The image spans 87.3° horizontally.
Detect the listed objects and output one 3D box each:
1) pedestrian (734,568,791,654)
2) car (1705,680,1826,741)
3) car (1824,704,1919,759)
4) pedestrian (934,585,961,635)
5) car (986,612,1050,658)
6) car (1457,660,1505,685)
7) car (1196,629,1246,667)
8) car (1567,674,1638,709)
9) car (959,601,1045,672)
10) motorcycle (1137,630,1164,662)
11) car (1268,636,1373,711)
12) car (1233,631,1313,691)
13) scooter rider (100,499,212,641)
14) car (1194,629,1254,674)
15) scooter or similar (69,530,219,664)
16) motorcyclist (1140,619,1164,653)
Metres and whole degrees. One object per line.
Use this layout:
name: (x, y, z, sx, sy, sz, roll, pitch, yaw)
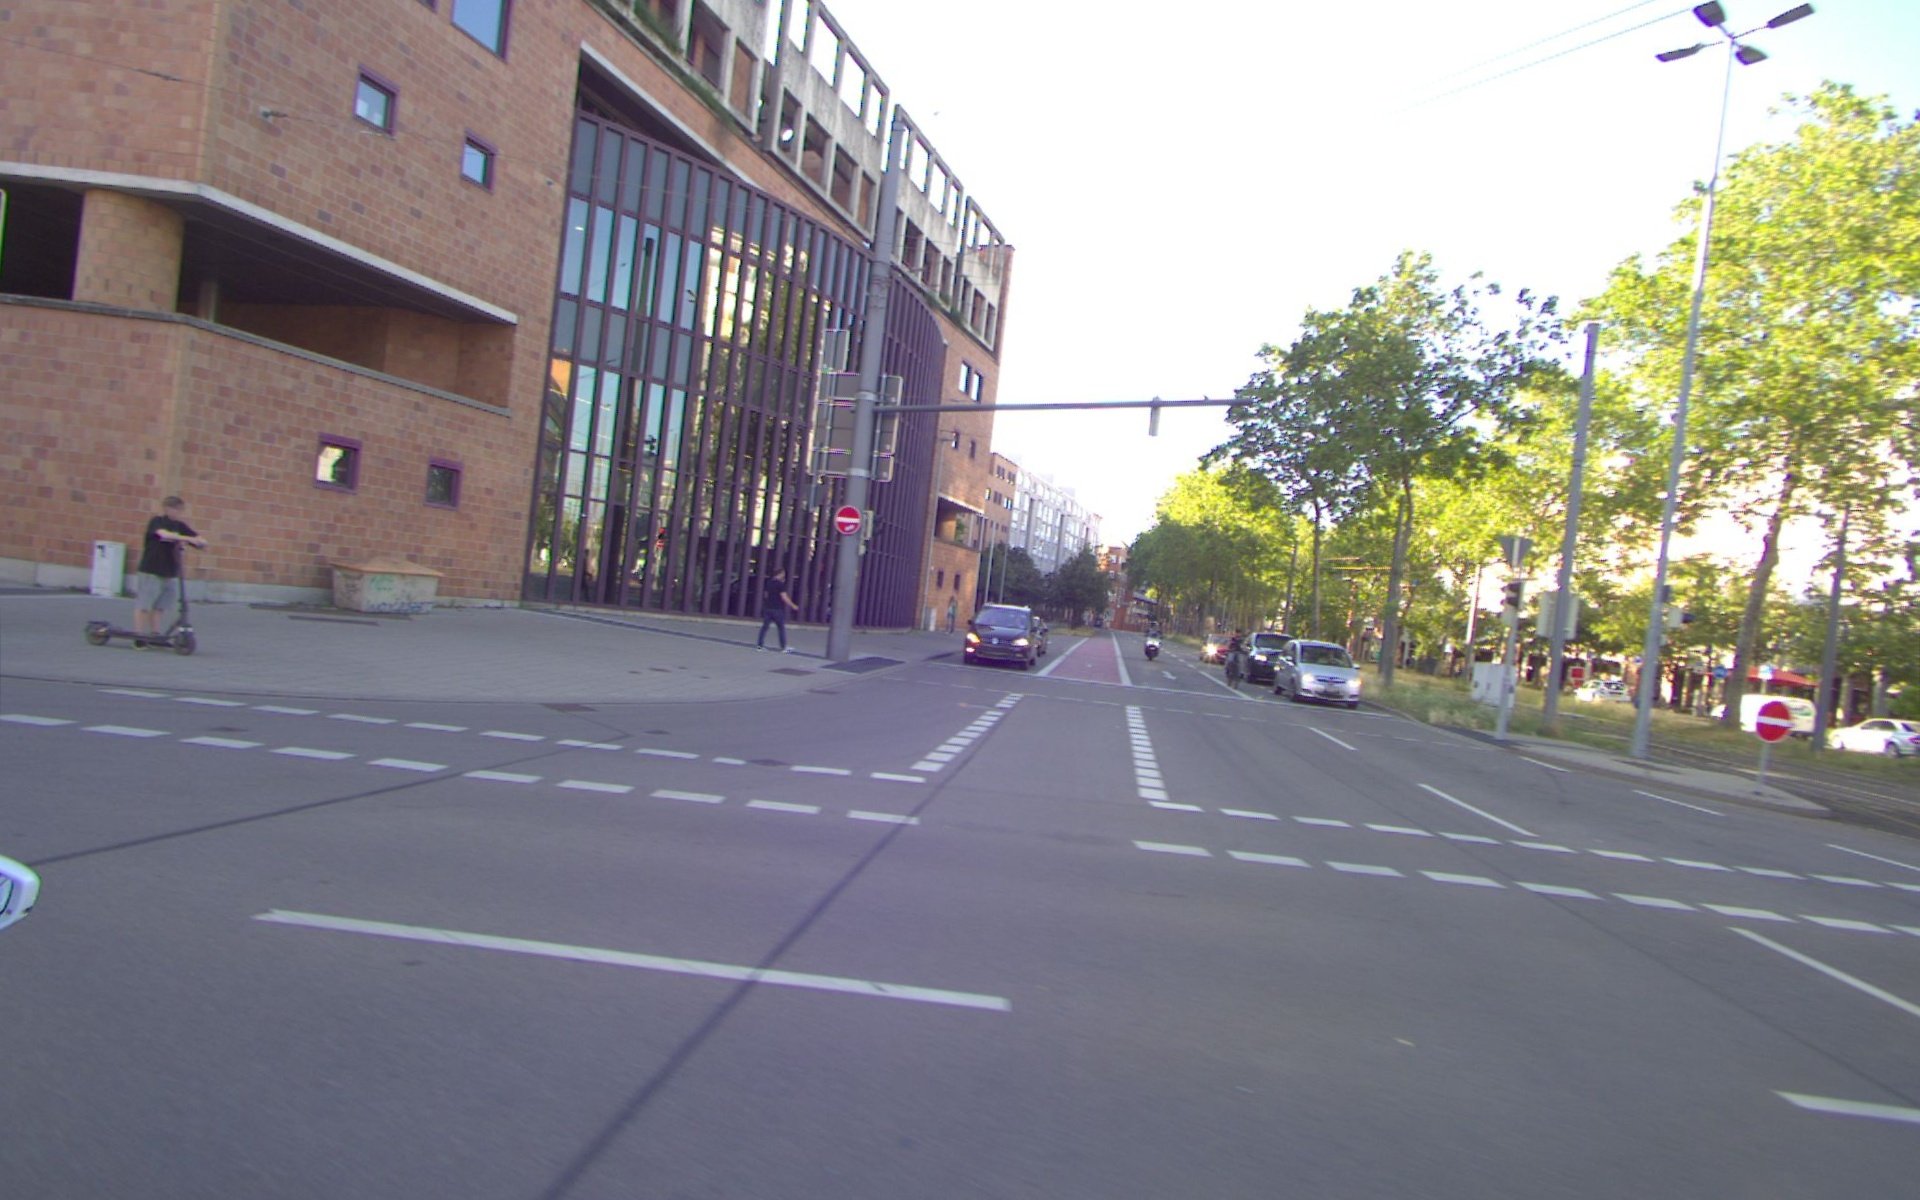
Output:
pedestrian: (-4.245, 0.249, 21.642, 0.809, 1.738, 0.664, 7, 1, 18)
car: (35.227, 4.775, 44.177, 1.962, 2.039, 4.387, 6, 0, 7)
car: (34.605, 4.906, 37.261, 1.824, 1.571, 4.327, 6, 0, 10)
pedestrian: (-0.530, 0.444, 43.403, 0.882, 2.039, 0.758, 7, 1, 2)
car: (2.208, 1.280, 37.454, 1.885, 1.393, 4.002, 7, 0, 8)
car: (41.658, 5.747, 80.505, 2.226, 1.571, 4.327, 6, 0, 12)
car: (12.778, 2.325, 49.501, 1.824, 1.571, 4.327, 6, 0, 9)
car: (37.673, 5.348, 59.133, 1.824, 1.571, 4.327, 6, 0, 10)
car: (1.278, 1.002, 28.629, 1.804, 1.675, 4.502, 6, 0, 9)
motorcycle: (8.414, 2.006, 44.412, 0.836, 1.274, 2.031, 8, 0, 15)
car: (9.571, 1.891, 27.032, 1.702, 1.616, 4.327, 6, 0, 9)
car: (10.571, 2.009, 34.304, 1.824, 1.671, 4.327, 6, 0, 9)
scooter rider: (-8.948, -0.322, 11.215, 0.709, 1.479, 0.507, 6, 1, -1)
car: (11.107, 2.119, 42.572, 1.824, 1.571, 4.327, 6, 0, 9)
scooter or similar: (-9.077, -0.031, 11.215, 1.112, 1.334, 0.529, 6, 1, -2)
motorcyclist: (8.507, 1.598, 44.572, 0.806, 1.370, 0.749, 8, 1, 15)
